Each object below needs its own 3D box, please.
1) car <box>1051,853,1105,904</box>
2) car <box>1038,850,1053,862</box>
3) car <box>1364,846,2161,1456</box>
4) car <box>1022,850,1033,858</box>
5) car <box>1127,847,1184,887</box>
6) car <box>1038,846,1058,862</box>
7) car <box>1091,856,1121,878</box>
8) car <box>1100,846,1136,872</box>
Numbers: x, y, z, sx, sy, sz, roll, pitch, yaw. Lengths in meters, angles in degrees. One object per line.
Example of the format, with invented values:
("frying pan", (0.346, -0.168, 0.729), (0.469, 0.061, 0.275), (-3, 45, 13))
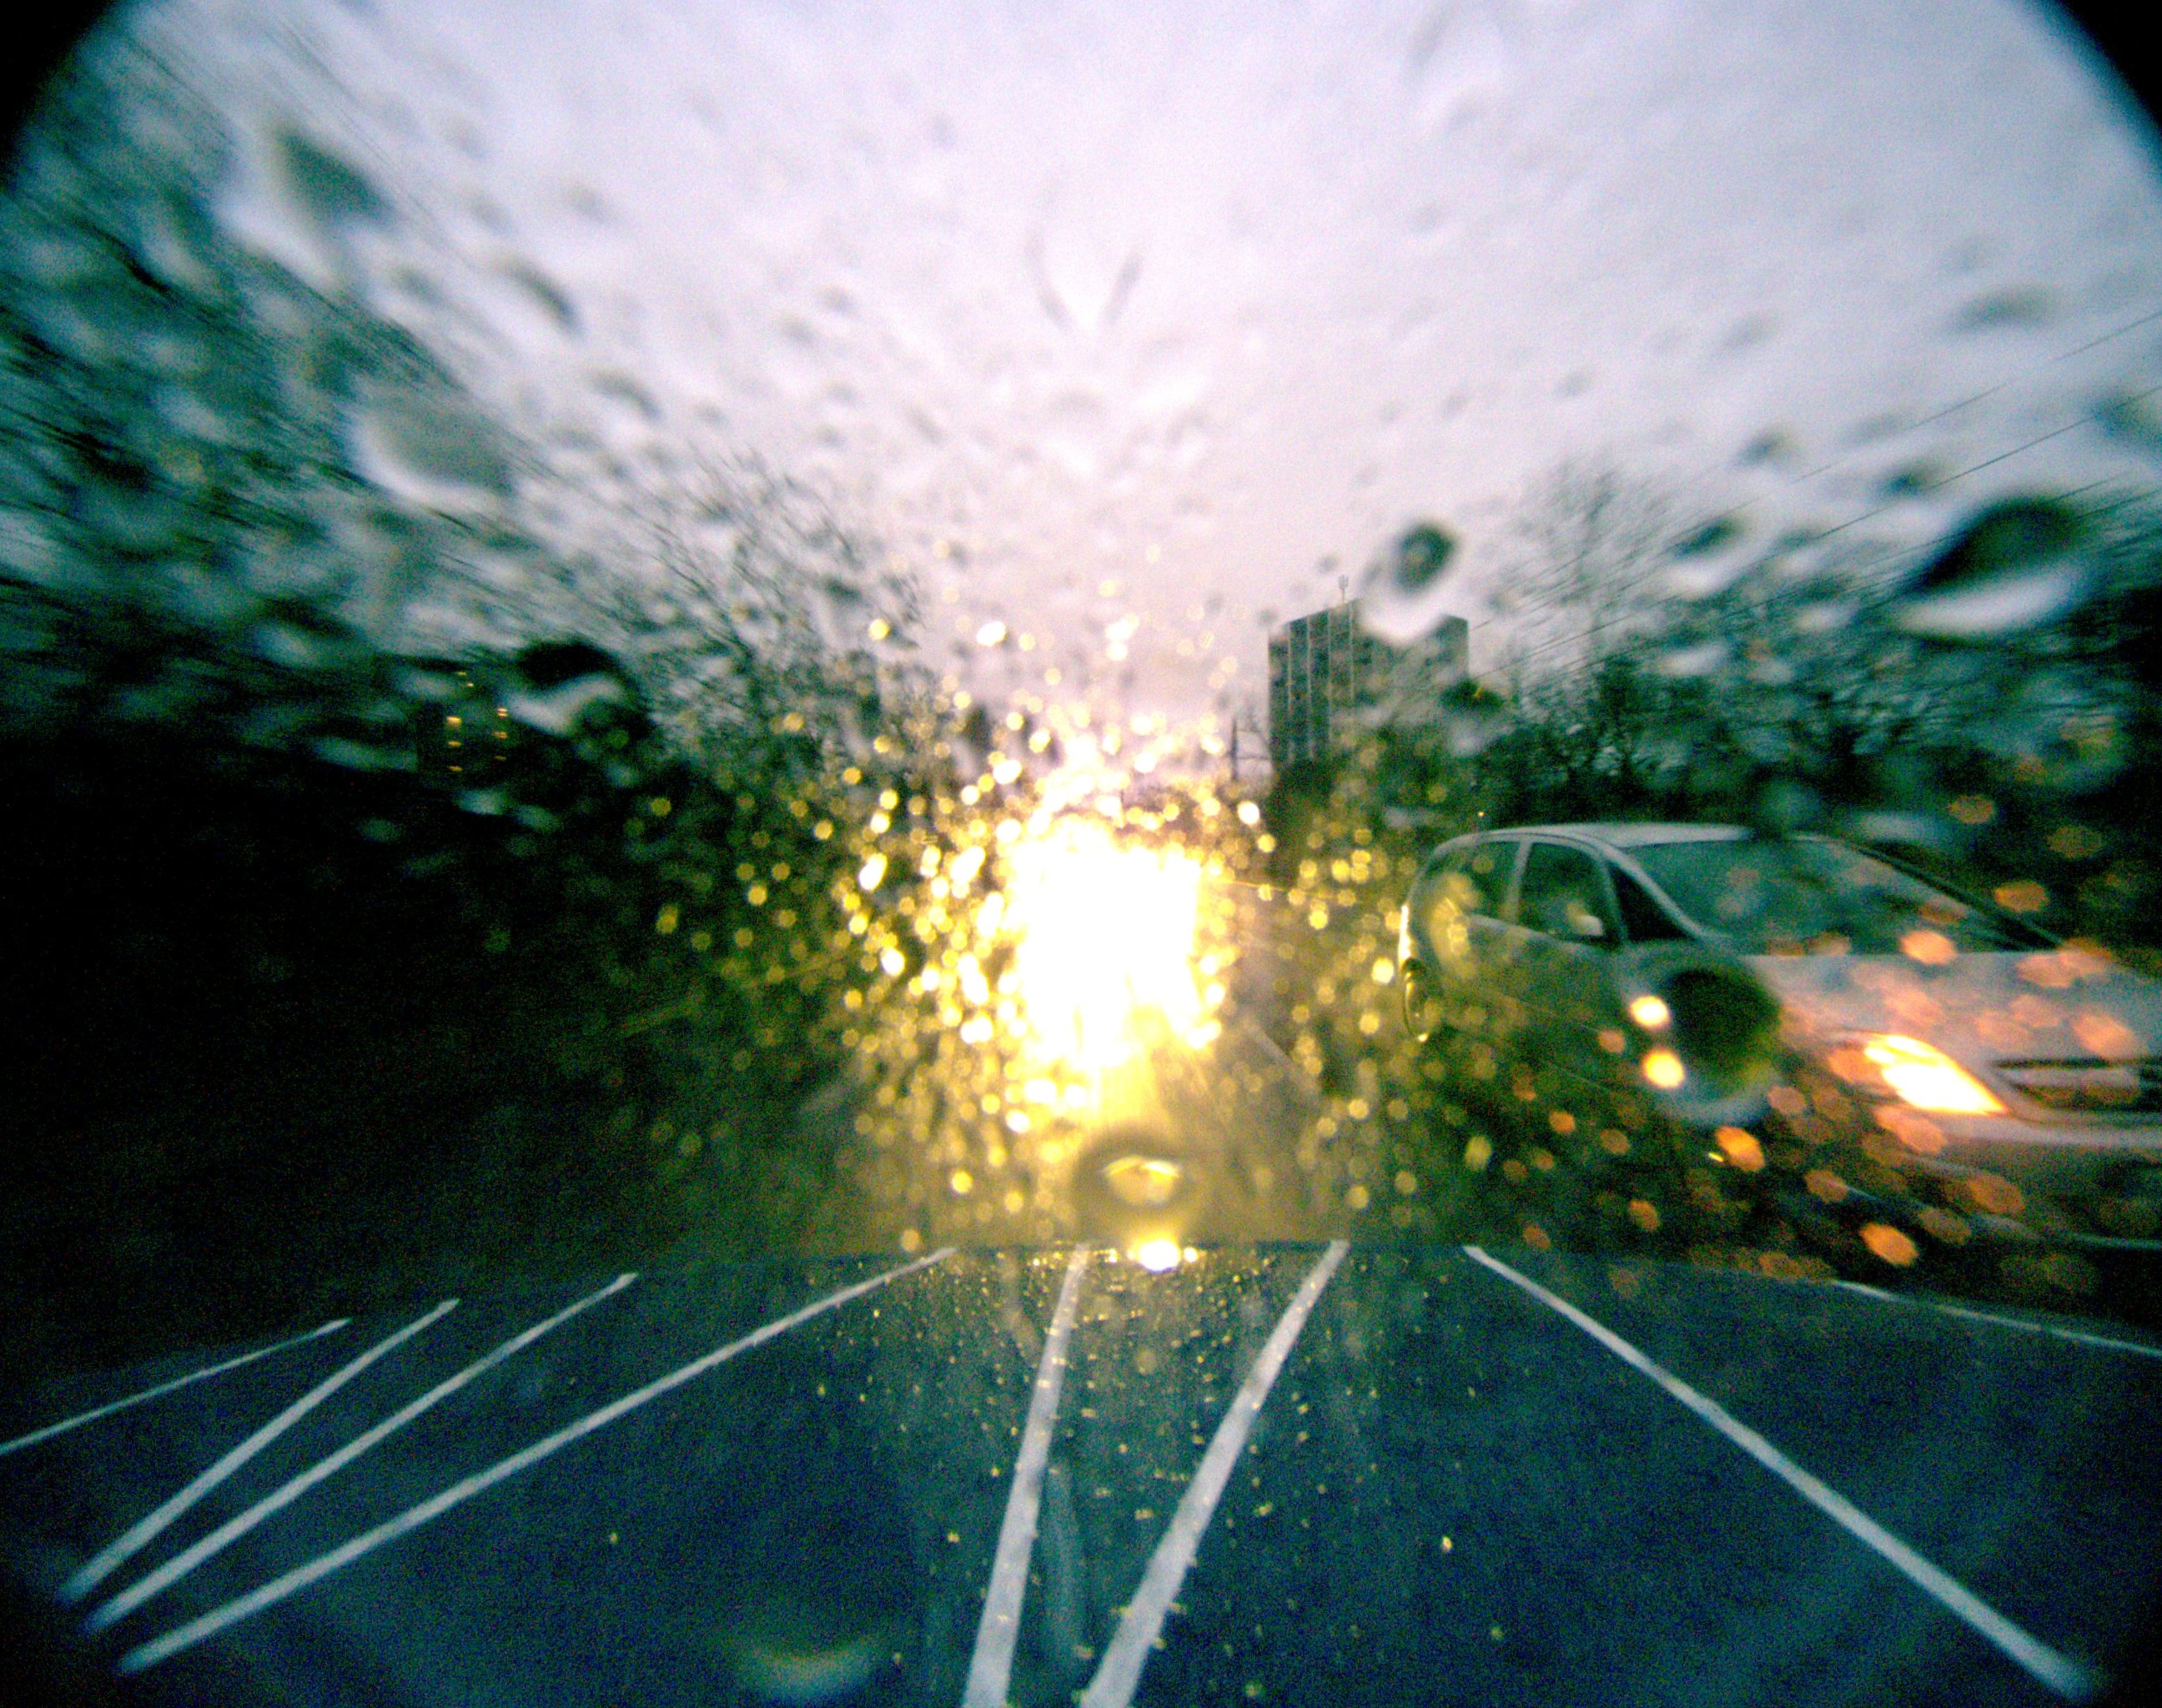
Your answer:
("car", (-0.105, 0.770, 26.015), (1.679, 1.590, 4.044), (-1, 0, 0))
("car", (-4.818, 0.231, 103.151), (1.953, 1.590, 4.123), (-1, 0, -3))
("car", (3.206, 0.761, 4.083), (1.694, 1.530, 4.189), (-2, 0, -1))
("car", (-10.956, -0.049, 156.451), (1.954, 1.590, 4.121), (-1, 0, -7))
("car", (3.157, 0.517, 32.951), (1.953, 1.590, 4.123), (-1, 0, -1))
("car", (-3.433, 0.020, 78.846), (1.953, 1.590, 4.123), (-1, 0, -3))
("car", (2.114, 1.092, 65.118), (1.999, 1.652, 3.997), (-2, 1, -5))
("car", (2.318, 0.288, 48.192), (1.953, 1.590, 4.123), (-1, 0, -1))
